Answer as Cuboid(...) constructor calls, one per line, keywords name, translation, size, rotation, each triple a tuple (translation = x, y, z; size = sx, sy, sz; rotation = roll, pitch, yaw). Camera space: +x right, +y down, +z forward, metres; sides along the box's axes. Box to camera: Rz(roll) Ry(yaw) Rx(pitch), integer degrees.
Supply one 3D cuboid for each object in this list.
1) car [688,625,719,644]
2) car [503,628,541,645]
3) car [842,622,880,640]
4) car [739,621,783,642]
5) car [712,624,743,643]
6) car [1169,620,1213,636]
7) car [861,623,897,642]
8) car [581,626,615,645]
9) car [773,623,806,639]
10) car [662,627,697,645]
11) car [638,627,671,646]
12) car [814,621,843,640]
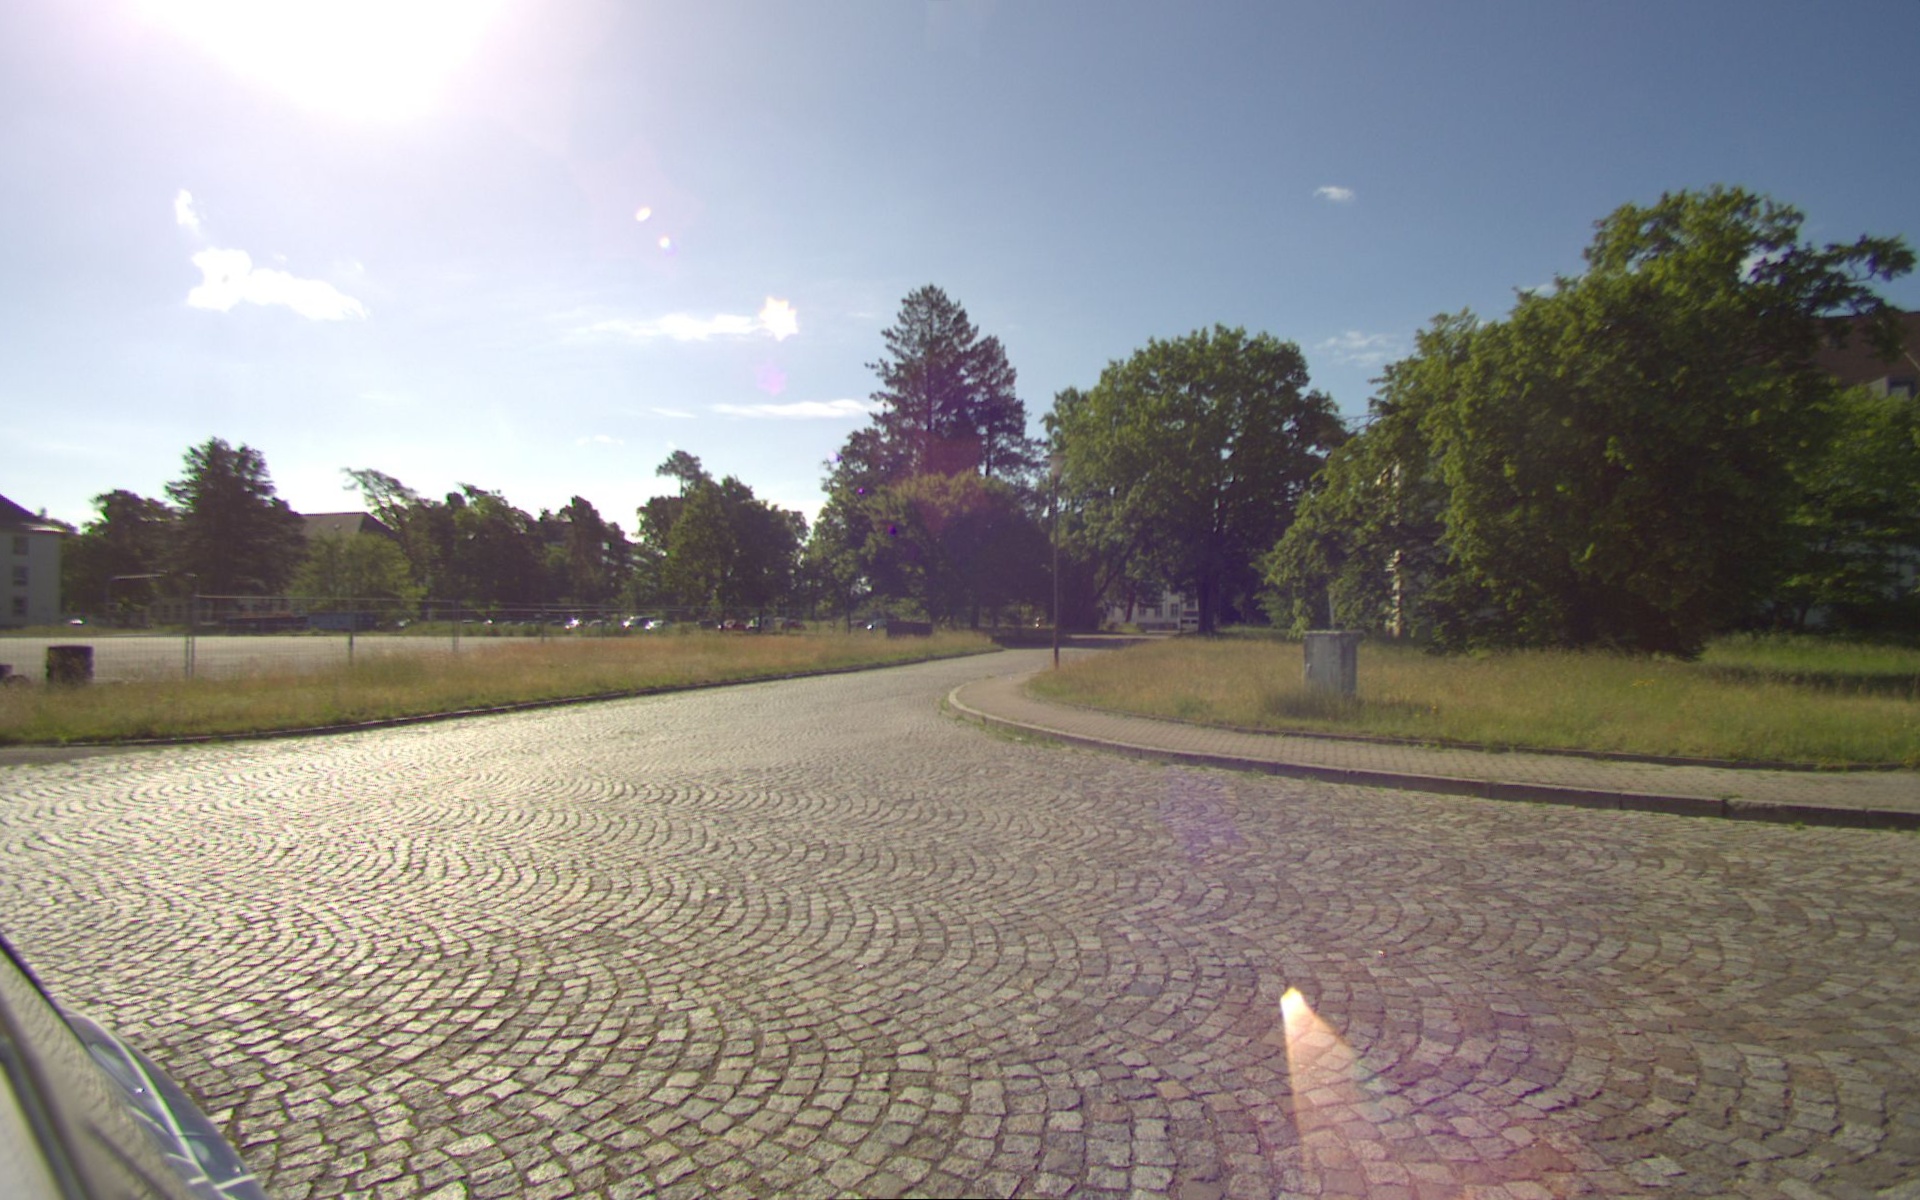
Cuboid(name="car", translation=(-27.973, 3.765, 110.475), size=(1.727, 2.029, 3.600), rotation=(0, -1, 16))
Cuboid(name="car", translation=(-51.396, 4.258, 118.780), size=(1.982, 2.029, 3.979), rotation=(-1, -2, 16))
Cuboid(name="car", translation=(-10.328, 3.235, 105.838), size=(2.231, 1.853, 4.319), rotation=(-1, -1, 21))
Cuboid(name="car", translation=(-21.458, 3.343, 109.527), size=(1.983, 2.029, 6.000), rotation=(-2, 0, 17))
Cuboid(name="car", translation=(-25.232, 3.657, 109.937), size=(1.727, 2.029, 3.600), rotation=(0, -1, 16))
Cuboid(name="car", translation=(35.689, 4.282, 156.414), size=(6.398, 2.485, 2.448), rotation=(0, -1, 19))
Cuboid(name="car", translation=(-8.329, 3.331, 104.333), size=(2.229, 1.853, 4.324), rotation=(0, -1, 18))
Cuboid(name="car", translation=(-41.104, 4.001, 114.971), size=(1.729, 2.029, 3.827), rotation=(0, -1, 18))
Cuboid(name="car", translation=(-18.087, 3.270, 107.703), size=(1.982, 1.664, 3.978), rotation=(0, -1, 16))
Cuboid(name="car", translation=(-31.296, 4.014, 112.955), size=(1.982, 2.029, 3.980), rotation=(-1, -2, 15))
Cuboid(name="car", translation=(-33.850, 4.004, 112.308), size=(1.727, 2.029, 3.831), rotation=(0, -1, 16))
Cuboid(name="car", translation=(-13.947, 3.209, 107.301), size=(1.727, 2.029, 3.600), rotation=(0, -1, 16))
